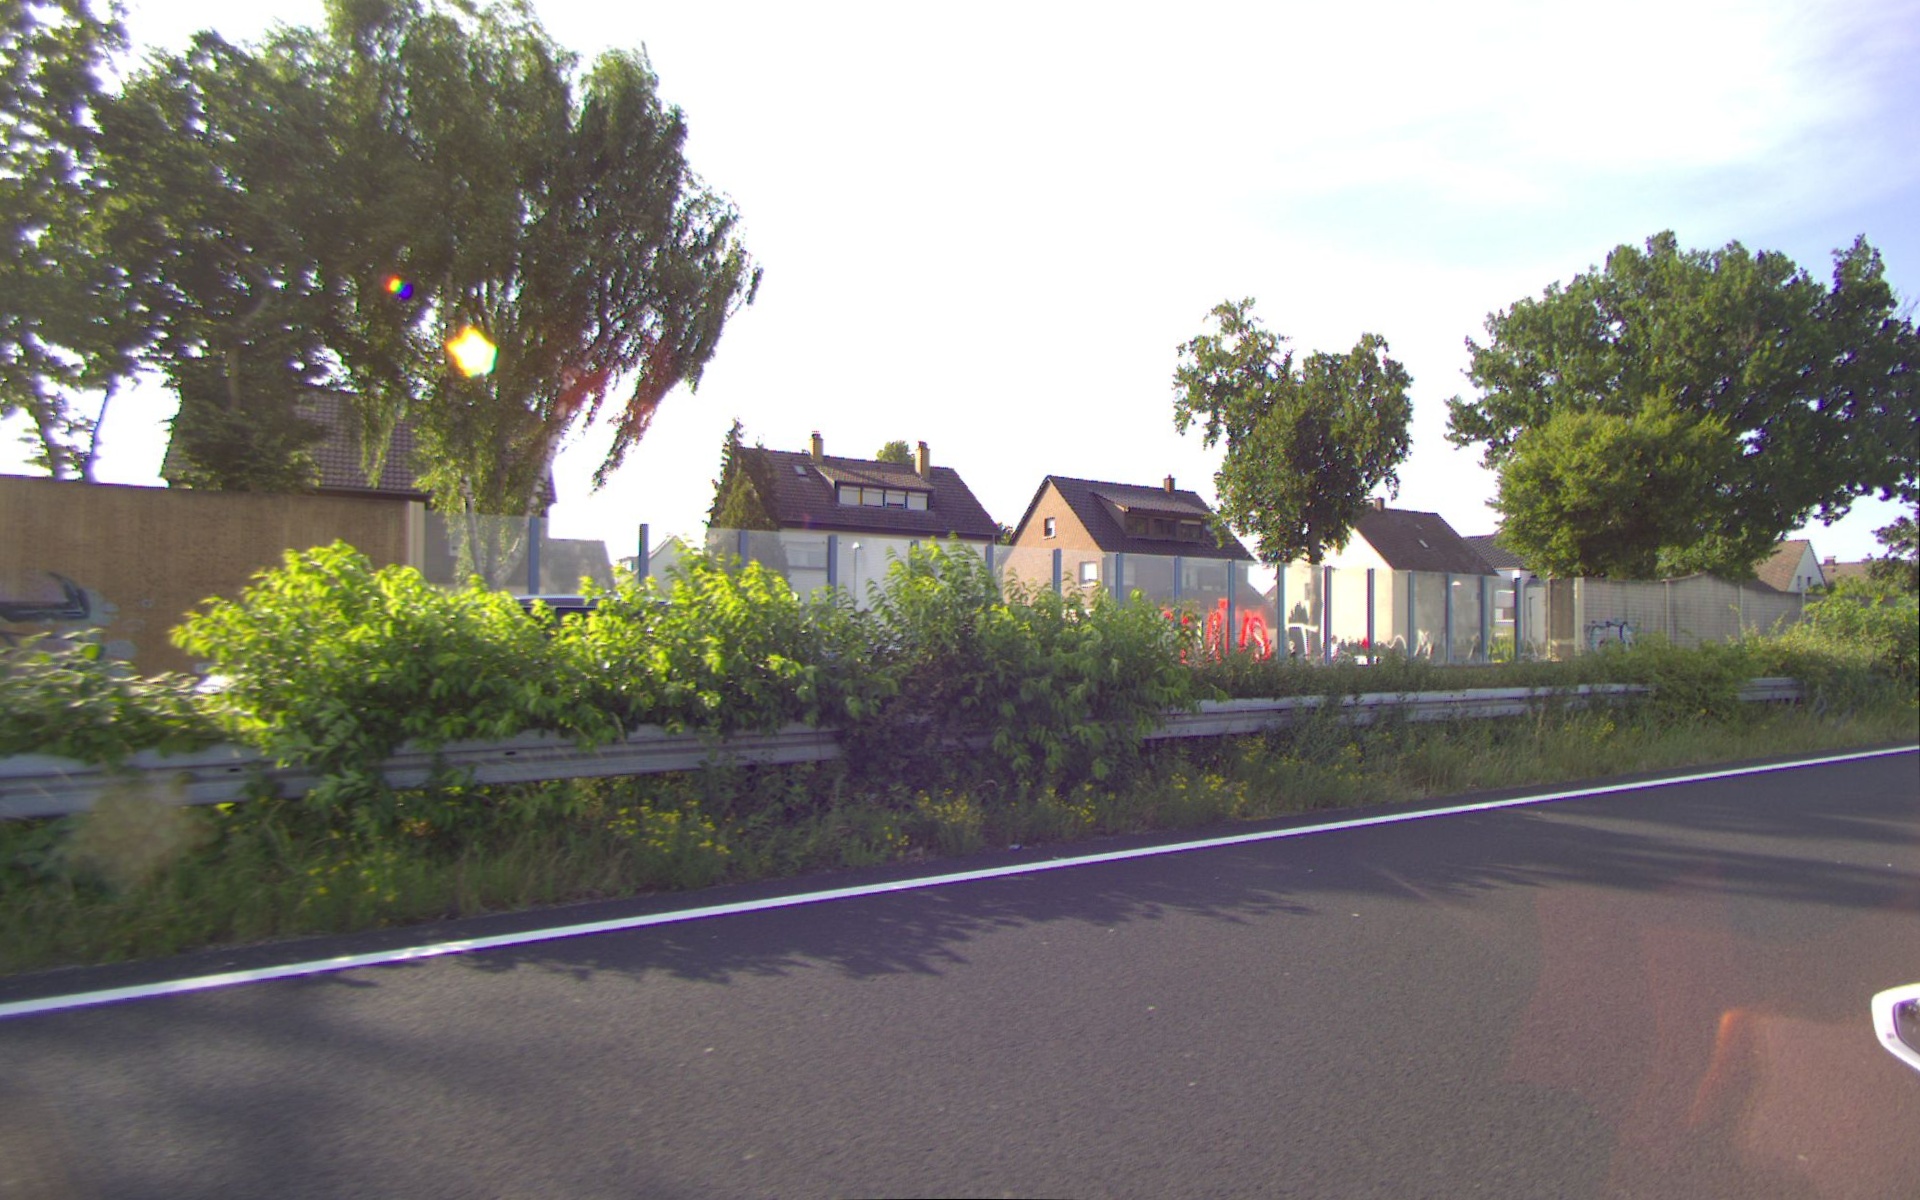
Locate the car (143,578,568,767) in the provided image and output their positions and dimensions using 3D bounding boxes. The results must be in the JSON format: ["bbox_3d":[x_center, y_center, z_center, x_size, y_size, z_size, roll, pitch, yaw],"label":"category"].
[{"bbox_3d":[-5.394,0.606,9.285,3.110,1.482,1.410,2,0,-30],"label":"car"}]
